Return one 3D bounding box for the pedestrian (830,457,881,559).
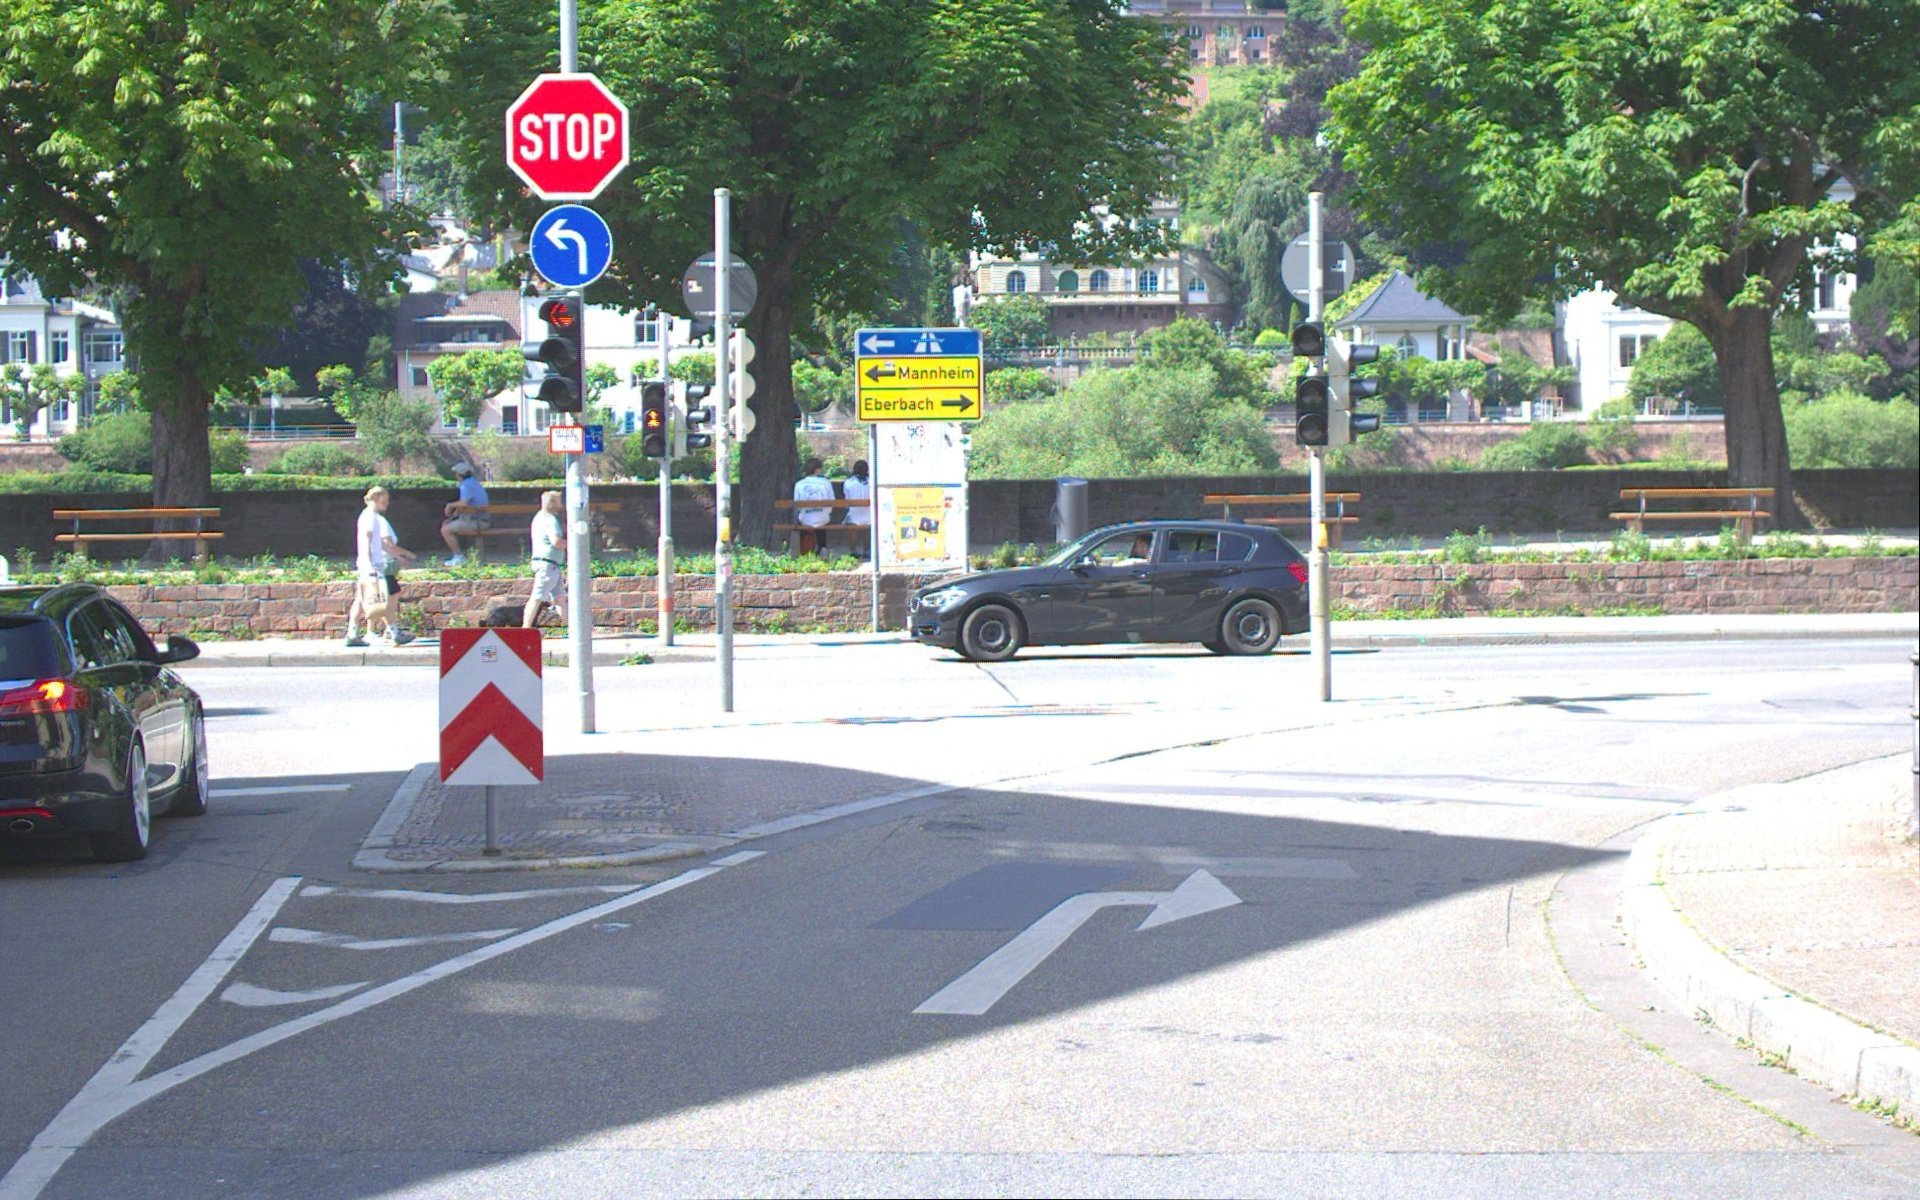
[{"bbox_3d":[-1.325,-1.153,43.338,0.553,1.224,0.986,2,-1,-5],"label":"pedestrian"}]

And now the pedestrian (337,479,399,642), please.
[{"bbox_3d":[-6.593,-0.450,38.332,0.578,1.795,0.705,0,1,-2],"label":"pedestrian"}]

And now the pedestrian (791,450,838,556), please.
[{"bbox_3d":[-1.830,-1.208,43.130,0.553,1.275,0.704,2,-1,-3],"label":"pedestrian"}]

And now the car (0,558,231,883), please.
[{"bbox_3d":[-5.133,0.573,18.718,1.714,1.457,4.726,-3,2,-6],"label":"car"}]

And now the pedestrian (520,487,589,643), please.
[{"bbox_3d":[-4.652,-0.402,39.450,0.688,1.763,0.717,-2,0,-3],"label":"pedestrian"}]

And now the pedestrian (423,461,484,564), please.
[{"bbox_3d":[-6.235,-1.084,42.326,0.641,1.223,0.414,-3,4,-15],"label":"pedestrian"}]

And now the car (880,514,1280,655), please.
[{"bbox_3d":[1.212,-0.185,35.964,3.986,1.413,1.875,0,1,-4],"label":"car"}]

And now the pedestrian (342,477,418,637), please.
[{"bbox_3d":[-6.637,-0.494,39.364,0.722,1.795,0.634,-2,0,-2],"label":"pedestrian"}]
